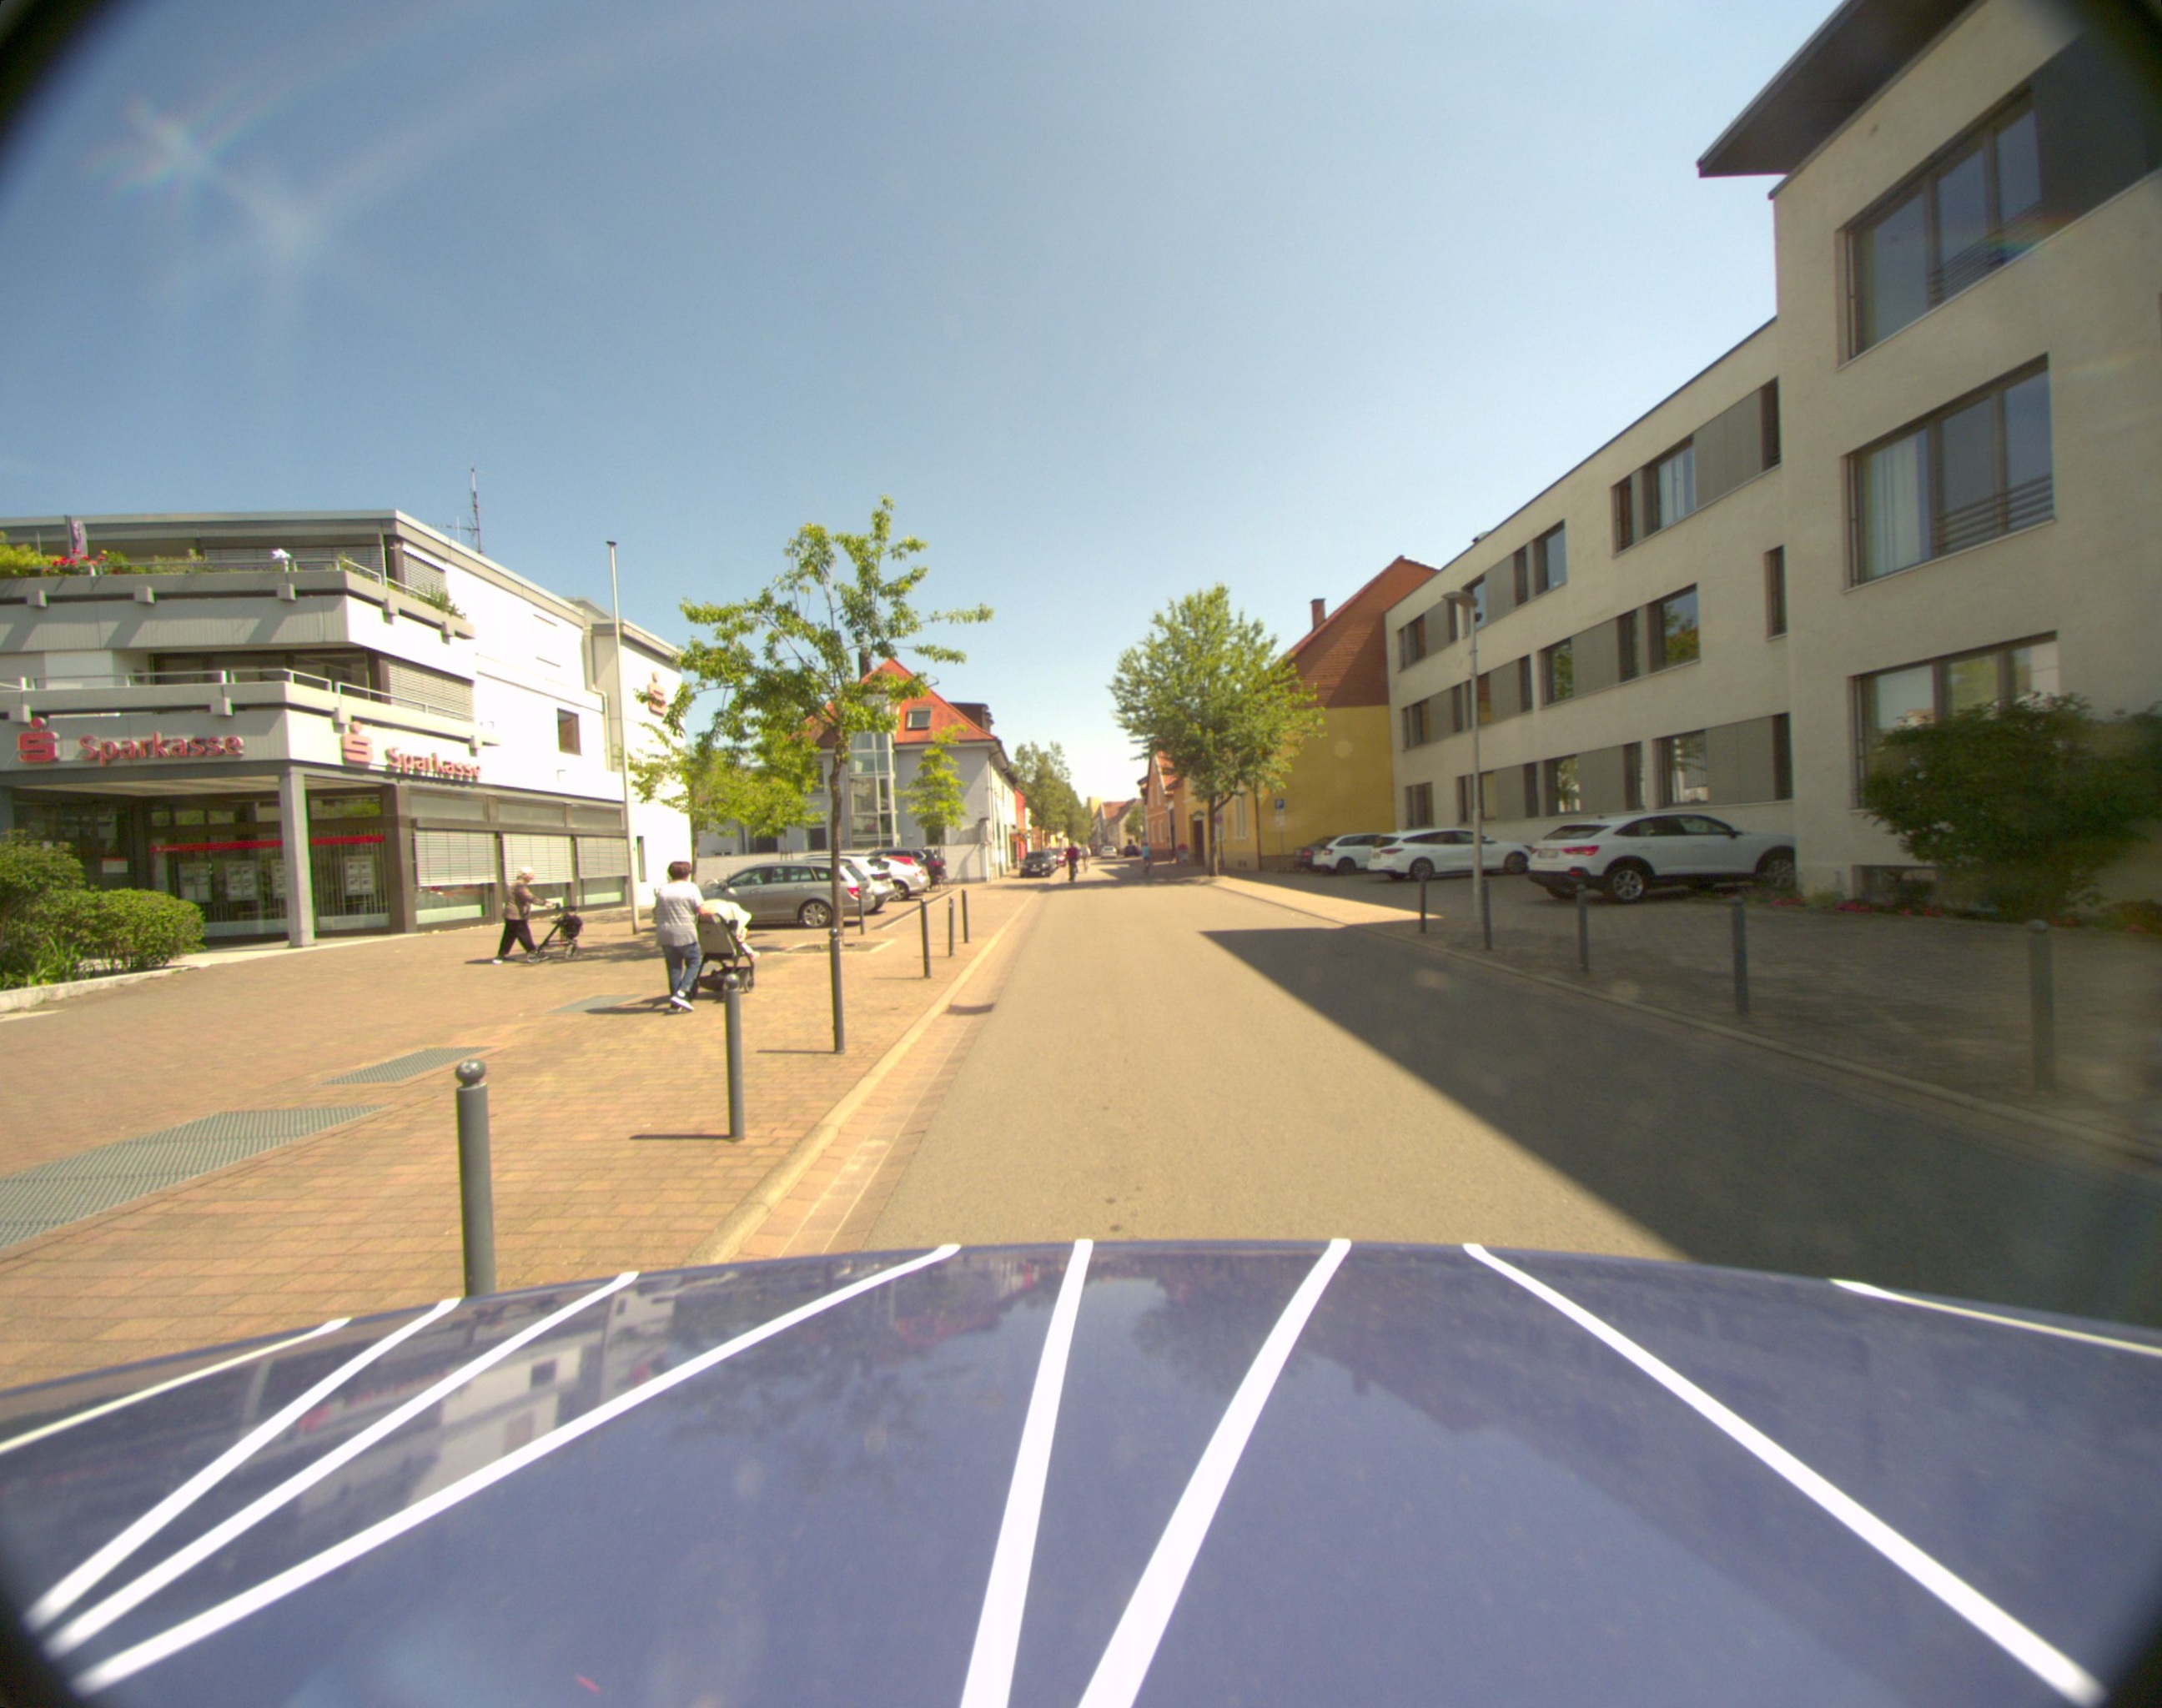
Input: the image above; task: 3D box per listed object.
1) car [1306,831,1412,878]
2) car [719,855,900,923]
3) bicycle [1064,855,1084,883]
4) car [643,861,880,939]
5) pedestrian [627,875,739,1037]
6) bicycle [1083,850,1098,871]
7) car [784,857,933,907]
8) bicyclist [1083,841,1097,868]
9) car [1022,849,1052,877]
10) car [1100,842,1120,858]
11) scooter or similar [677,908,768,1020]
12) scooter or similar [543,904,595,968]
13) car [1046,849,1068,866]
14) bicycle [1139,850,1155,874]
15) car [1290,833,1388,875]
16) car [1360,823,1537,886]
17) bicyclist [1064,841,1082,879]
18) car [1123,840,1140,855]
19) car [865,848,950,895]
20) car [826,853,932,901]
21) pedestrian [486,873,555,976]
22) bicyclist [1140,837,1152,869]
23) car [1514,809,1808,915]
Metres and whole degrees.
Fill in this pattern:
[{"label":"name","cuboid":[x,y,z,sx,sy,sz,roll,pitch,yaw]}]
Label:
[{"label":"car","cuboid":[9.924,0.012,27.276,3.139,1.442,1.642,-4,1,1]},{"label":"car","cuboid":[-6.870,0.847,19.591,4.047,1.550,1.711,-1,1,-6]},{"label":"bicycle","cuboid":[-0.345,0.682,34.911,0.738,1.183,1.970,-4,1,-3]},{"label":"car","cuboid":[-6.863,0.957,16.725,4.446,1.457,1.689,-1,2,-6]},{"label":"pedestrian","cuboid":[-4.027,0.990,7.758,0.512,1.507,1.048,-1,1,2]},{"label":"bicycle","cuboid":[0.566,0.399,46.584,0.690,1.183,1.798,-4,1,-3]},{"label":"car","cuboid":[-7.172,0.872,24.874,4.446,1.434,1.655,-1,1,-8]},{"label":"bicyclist","cuboid":[0.528,0.032,46.544,0.703,1.573,0.878,-4,2,-3]},{"label":"car","cuboid":[-2.495,0.462,42.432,1.530,1.444,3.519,-2,1,-6]},{"label":"car","cuboid":[3.199,-0.455,85.118,1.999,1.696,3.999,-2,1,-1]},{"label":"scooter or similar","cuboid":[-3.988,1.196,8.502,0.505,1.112,0.909,-1,1,4]},{"label":"scooter or similar","cuboid":[-8.178,1.298,12.135,0.535,0.940,0.548,-1,2,44]},{"label":"car","cuboid":[-1.976,0.244,61.918,1.530,1.298,3.248,-1,1,-6]},{"label":"bicycle","cuboid":[3.420,0.417,39.444,0.595,1.183,1.724,-3,1,-2]},{"label":"car","cuboid":[9.961,0.001,29.487,3.258,1.393,1.374,-4,1,-2]},{"label":"car","cuboid":[10.594,0.005,22.085,4.324,1.470,1.513,-4,1,0]},{"label":"bicyclist","cuboid":[-0.374,0.259,34.867,0.703,1.707,0.759,-4,2,-3]},{"label":"car","cuboid":[6.593,-0.828,99.780,1.826,1.805,3.999,-2,1,-1]},{"label":"car","cuboid":[-6.709,0.652,29.549,3.041,1.727,1.344,-1,1,-5]},{"label":"car","cuboid":[-7.223,0.789,27.408,3.431,1.543,1.490,-2,1,-5]},{"label":"pedestrian","cuboid":[-8.629,1.061,11.696,0.725,1.492,0.530,-3,2,-45]},{"label":"bicyclist","cuboid":[3.373,-0.067,39.556,0.538,1.630,0.551,-2,1,-2]},{"label":"car","cuboid":[10.391,0.120,13.821,3.997,1.539,1.748,-4,1,-2]}]
